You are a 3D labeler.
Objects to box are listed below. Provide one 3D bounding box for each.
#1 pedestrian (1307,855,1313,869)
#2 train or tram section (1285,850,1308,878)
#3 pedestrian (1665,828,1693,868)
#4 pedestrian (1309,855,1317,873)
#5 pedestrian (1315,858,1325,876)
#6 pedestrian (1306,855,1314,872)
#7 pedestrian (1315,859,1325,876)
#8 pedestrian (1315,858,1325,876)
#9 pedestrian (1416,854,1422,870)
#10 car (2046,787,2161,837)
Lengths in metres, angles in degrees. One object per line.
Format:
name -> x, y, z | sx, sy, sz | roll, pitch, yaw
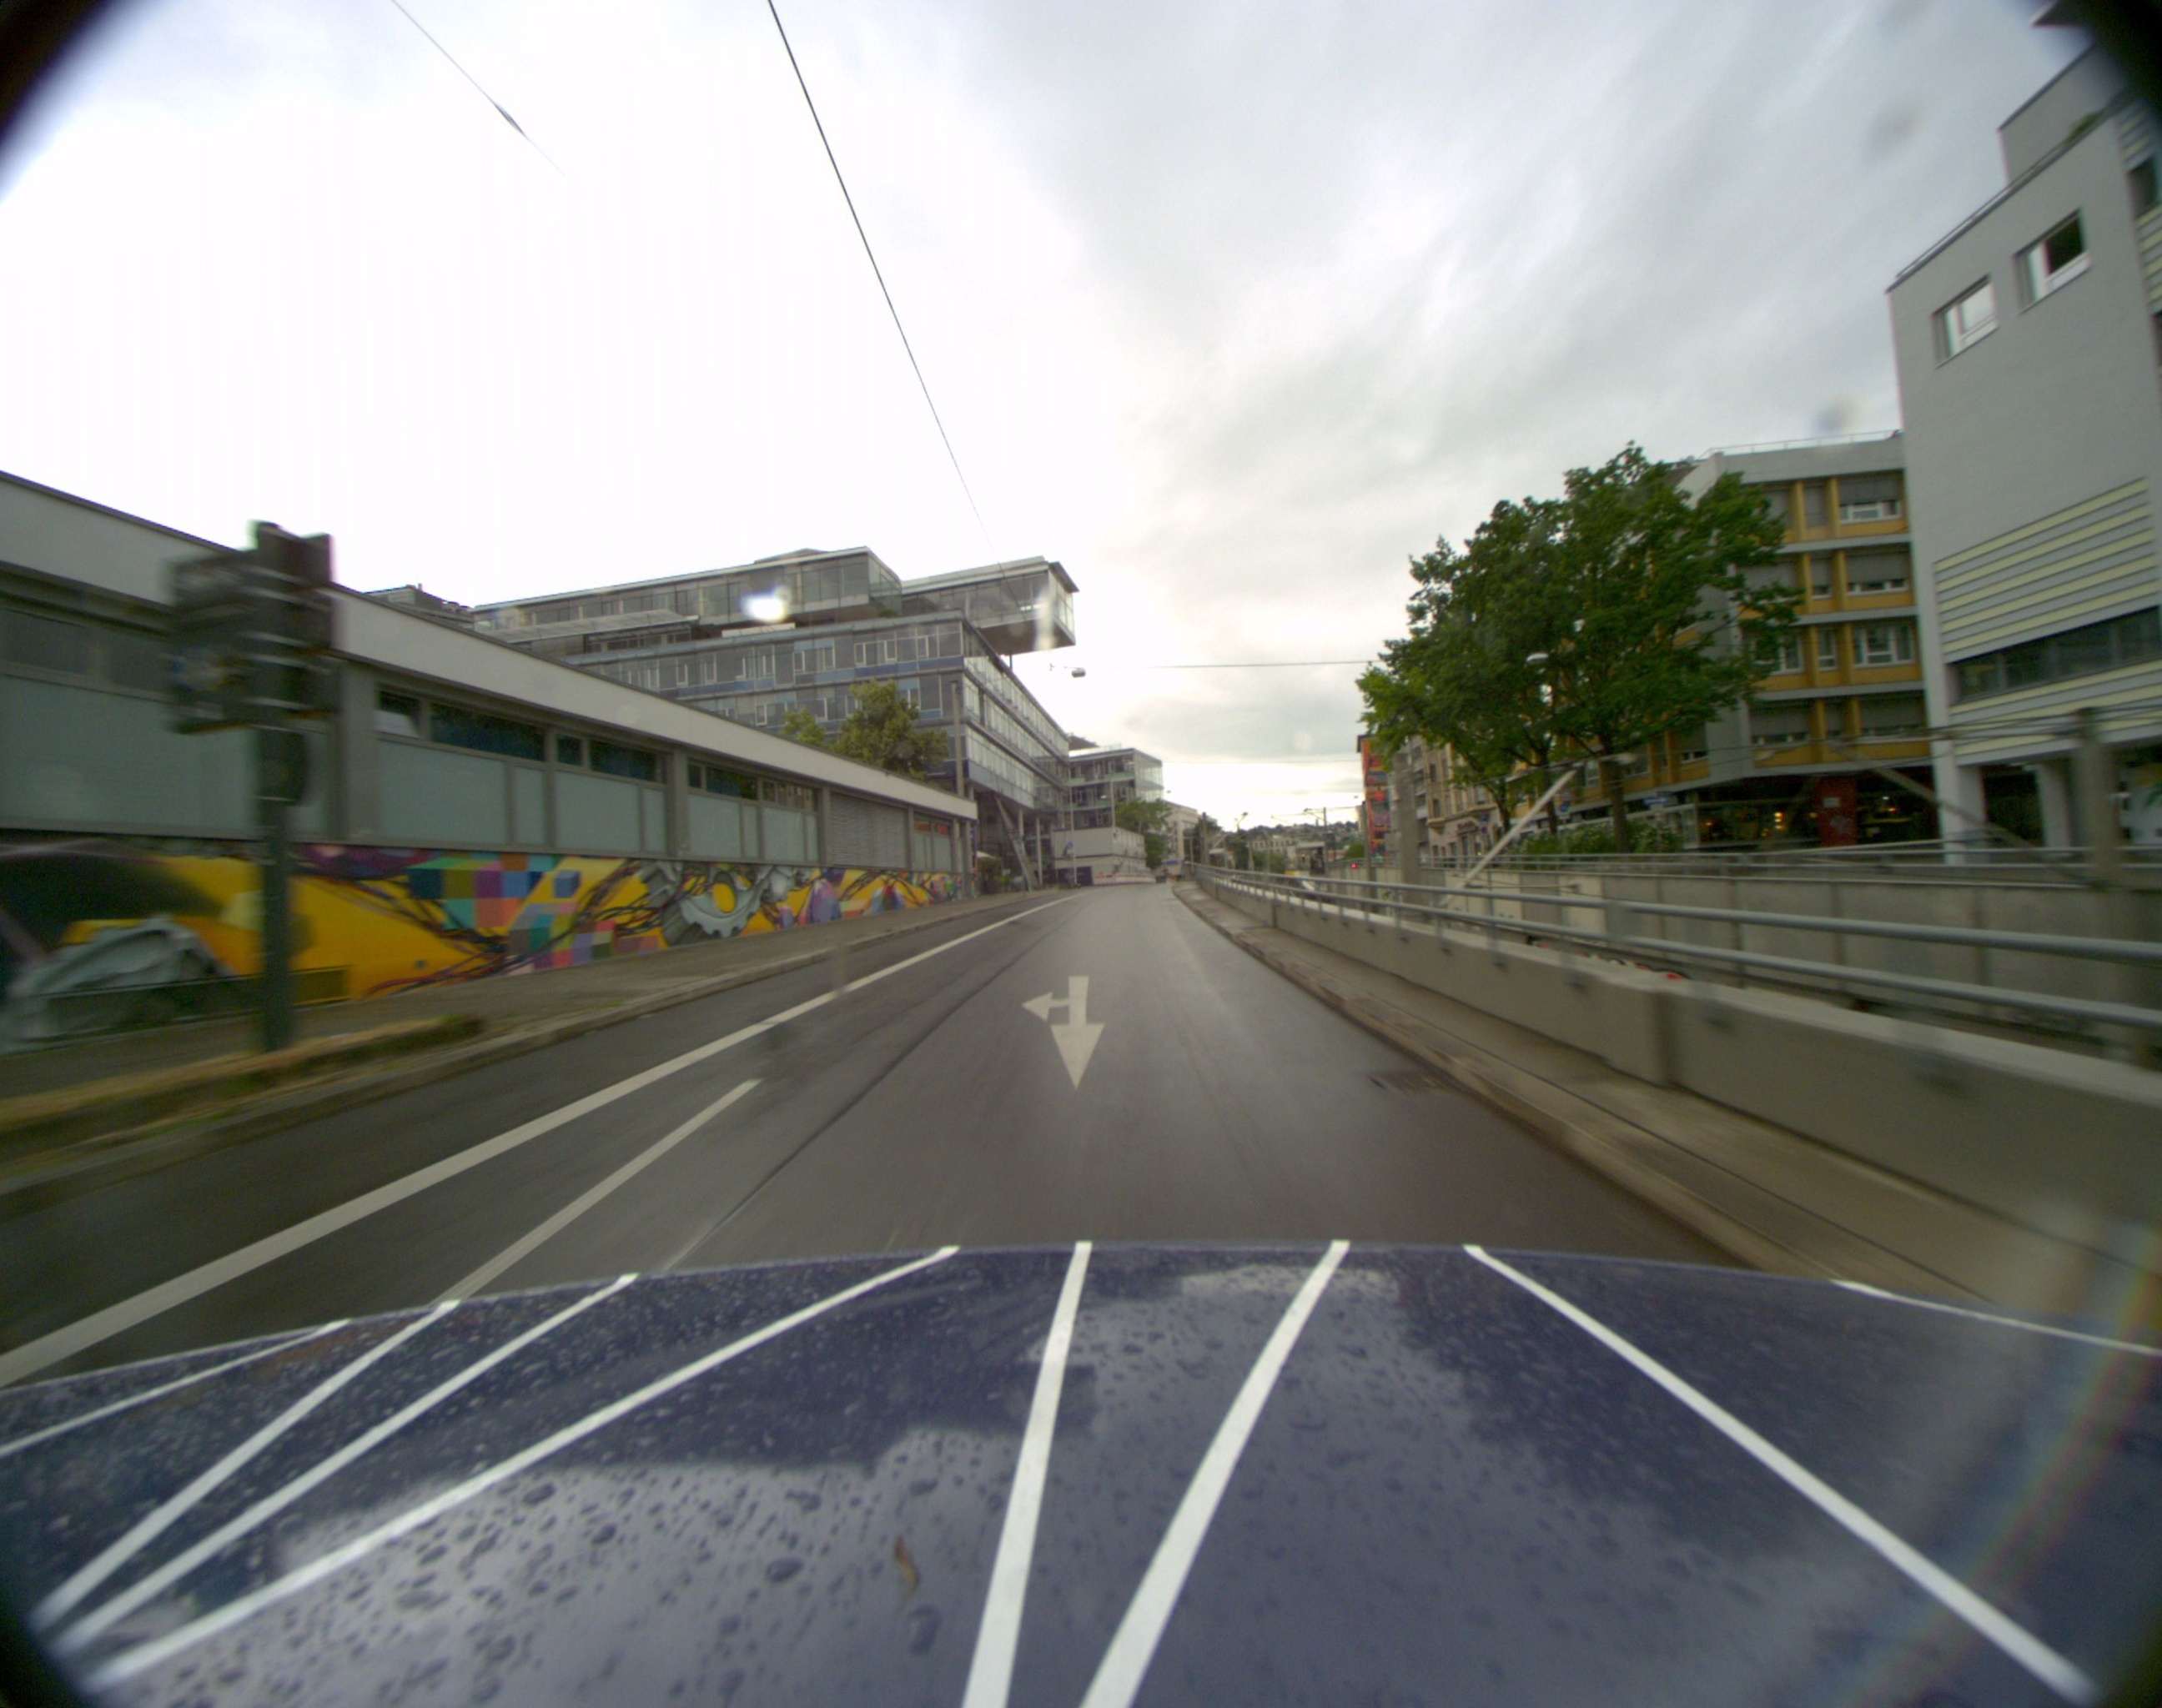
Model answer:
pedestrian -> 25.245, 0.937, 83.660 | 0.558, 1.528, 0.517 | -1, -1, 16
train or tram section -> 33.960, 1.679, 119.519 | 2.782, 3.667, 9.733 | -5, -5, 18
pedestrian -> 28.310, -0.271, 35.999 | 0.666, 1.838, 0.830 | -1, 0, 8
pedestrian -> 21.913, 0.963, 71.739 | 0.678, 1.639, 0.897 | 1, 0, 20
pedestrian -> 23.014, 1.235, 73.117 | 0.772, 1.639, 0.779 | 2, 0, 20
pedestrian -> 22.928, 0.930, 76.074 | 0.633, 1.650, 0.684 | -1, -2, 19
pedestrian -> 23.317, 1.296, 74.153 | 0.772, 1.639, 0.779 | 2, 0, 20
pedestrian -> 22.758, 1.222, 72.344 | 0.772, 1.639, 0.779 | 2, 0, 20
pedestrian -> 37.066, 0.888, 83.386 | 0.422, 1.671, 0.609 | -6, -3, 26
car -> 41.782, -1.689, 30.880 | 1.826, 1.776, 4.007 | -4, 0, 31
